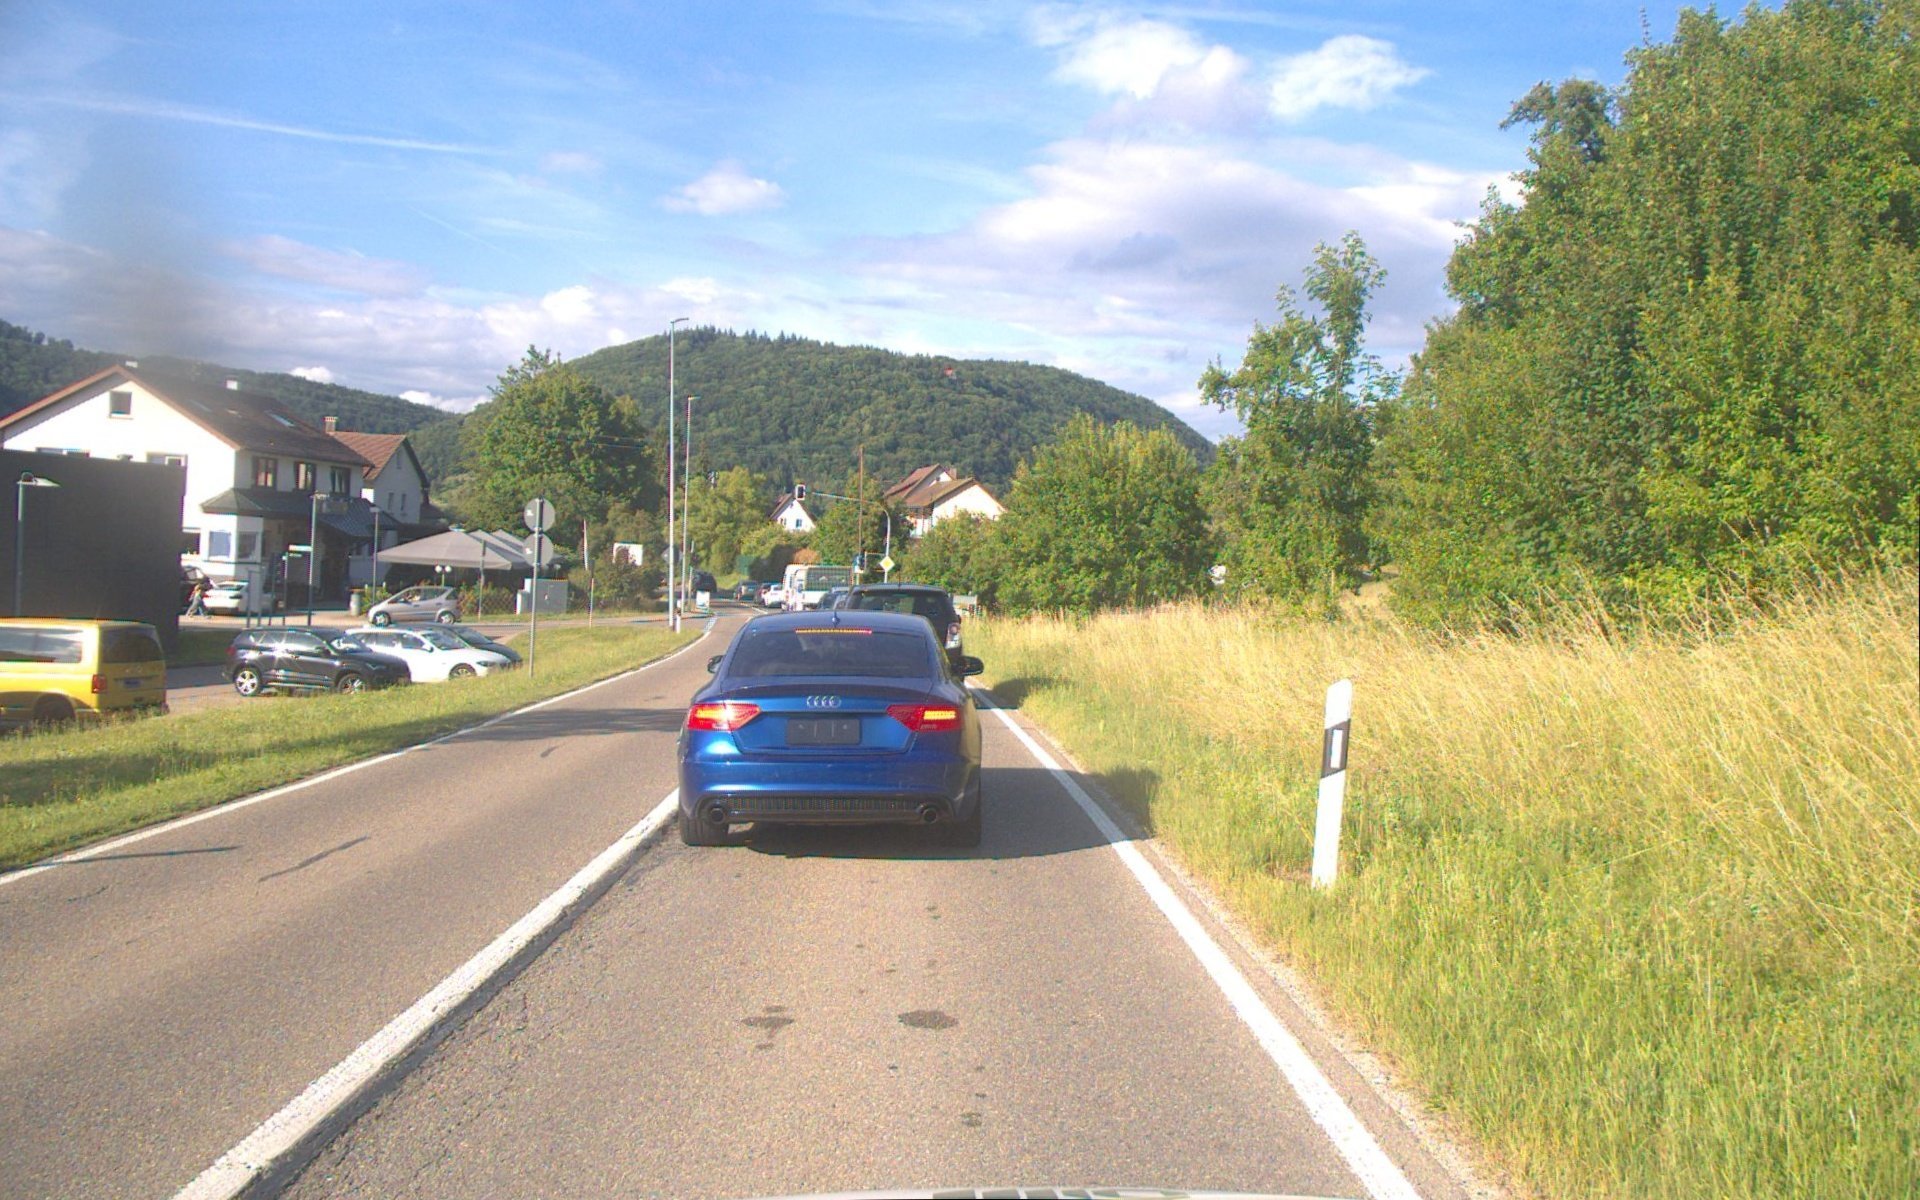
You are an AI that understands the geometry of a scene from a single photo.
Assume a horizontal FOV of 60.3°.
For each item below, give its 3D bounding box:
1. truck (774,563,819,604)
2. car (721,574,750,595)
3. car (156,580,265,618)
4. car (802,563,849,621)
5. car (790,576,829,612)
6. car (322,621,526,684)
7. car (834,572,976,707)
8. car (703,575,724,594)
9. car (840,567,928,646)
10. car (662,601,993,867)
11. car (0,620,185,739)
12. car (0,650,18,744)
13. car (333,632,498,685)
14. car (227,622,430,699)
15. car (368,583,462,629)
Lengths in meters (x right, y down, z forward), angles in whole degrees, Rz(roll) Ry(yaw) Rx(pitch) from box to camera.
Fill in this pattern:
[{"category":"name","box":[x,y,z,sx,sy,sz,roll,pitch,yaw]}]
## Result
[{"category":"truck","box":[-8.457,-0.805,85.233,1.668,1.988,5.904,1,0,-12]},{"category":"car","box":[-16.683,-1.139,122.841,1.670,1.516,3.512,1,-1,-16]},{"category":"car","box":[-30.647,-0.031,67.719,1.728,1.467,4.000,1,-1,21]},{"category":"car","box":[-5.426,-0.314,66.444,1.713,2.234,3.994,1,-1,-7]},{"category":"car","box":[-7.311,-0.279,80.106,1.713,1.668,3.994,1,0,-7]},{"category":"car","box":[-14.006,1.350,43.351,4.711,1.520,1.882,1,-1,9]},{"category":"car","box":[-0.670,0.514,22.847,1.710,1.668,4.000,1,0,1]},{"category":"car","box":[-21.868,-1.341,146.545,1.598,1.604,3.667,1,-1,-13]},{"category":"car","box":[-1.687,0.162,38.107,1.768,1.668,4.463,1,0,0]},{"category":"car","box":[-0.667,0.732,10.838,1.758,1.412,4.000,0,-1,1]},{"category":"car","box":[-16.242,1.335,28.948,4.512,1.900,2.002,1,-1,12]},{"category":"car","box":[-17.197,1.537,26.394,3.419,1.498,1.634,1,-1,7]},{"category":"car","box":[-14.990,1.604,45.661,3.903,1.333,1.762,1,-1,5]},{"category":"car","box":[-14.801,1.400,38.887,3.939,1.666,2.002,1,-1,9]},{"category":"car","box":[-21.243,0.240,64.618,3.405,1.691,1.732,1,-1,-17]}]
